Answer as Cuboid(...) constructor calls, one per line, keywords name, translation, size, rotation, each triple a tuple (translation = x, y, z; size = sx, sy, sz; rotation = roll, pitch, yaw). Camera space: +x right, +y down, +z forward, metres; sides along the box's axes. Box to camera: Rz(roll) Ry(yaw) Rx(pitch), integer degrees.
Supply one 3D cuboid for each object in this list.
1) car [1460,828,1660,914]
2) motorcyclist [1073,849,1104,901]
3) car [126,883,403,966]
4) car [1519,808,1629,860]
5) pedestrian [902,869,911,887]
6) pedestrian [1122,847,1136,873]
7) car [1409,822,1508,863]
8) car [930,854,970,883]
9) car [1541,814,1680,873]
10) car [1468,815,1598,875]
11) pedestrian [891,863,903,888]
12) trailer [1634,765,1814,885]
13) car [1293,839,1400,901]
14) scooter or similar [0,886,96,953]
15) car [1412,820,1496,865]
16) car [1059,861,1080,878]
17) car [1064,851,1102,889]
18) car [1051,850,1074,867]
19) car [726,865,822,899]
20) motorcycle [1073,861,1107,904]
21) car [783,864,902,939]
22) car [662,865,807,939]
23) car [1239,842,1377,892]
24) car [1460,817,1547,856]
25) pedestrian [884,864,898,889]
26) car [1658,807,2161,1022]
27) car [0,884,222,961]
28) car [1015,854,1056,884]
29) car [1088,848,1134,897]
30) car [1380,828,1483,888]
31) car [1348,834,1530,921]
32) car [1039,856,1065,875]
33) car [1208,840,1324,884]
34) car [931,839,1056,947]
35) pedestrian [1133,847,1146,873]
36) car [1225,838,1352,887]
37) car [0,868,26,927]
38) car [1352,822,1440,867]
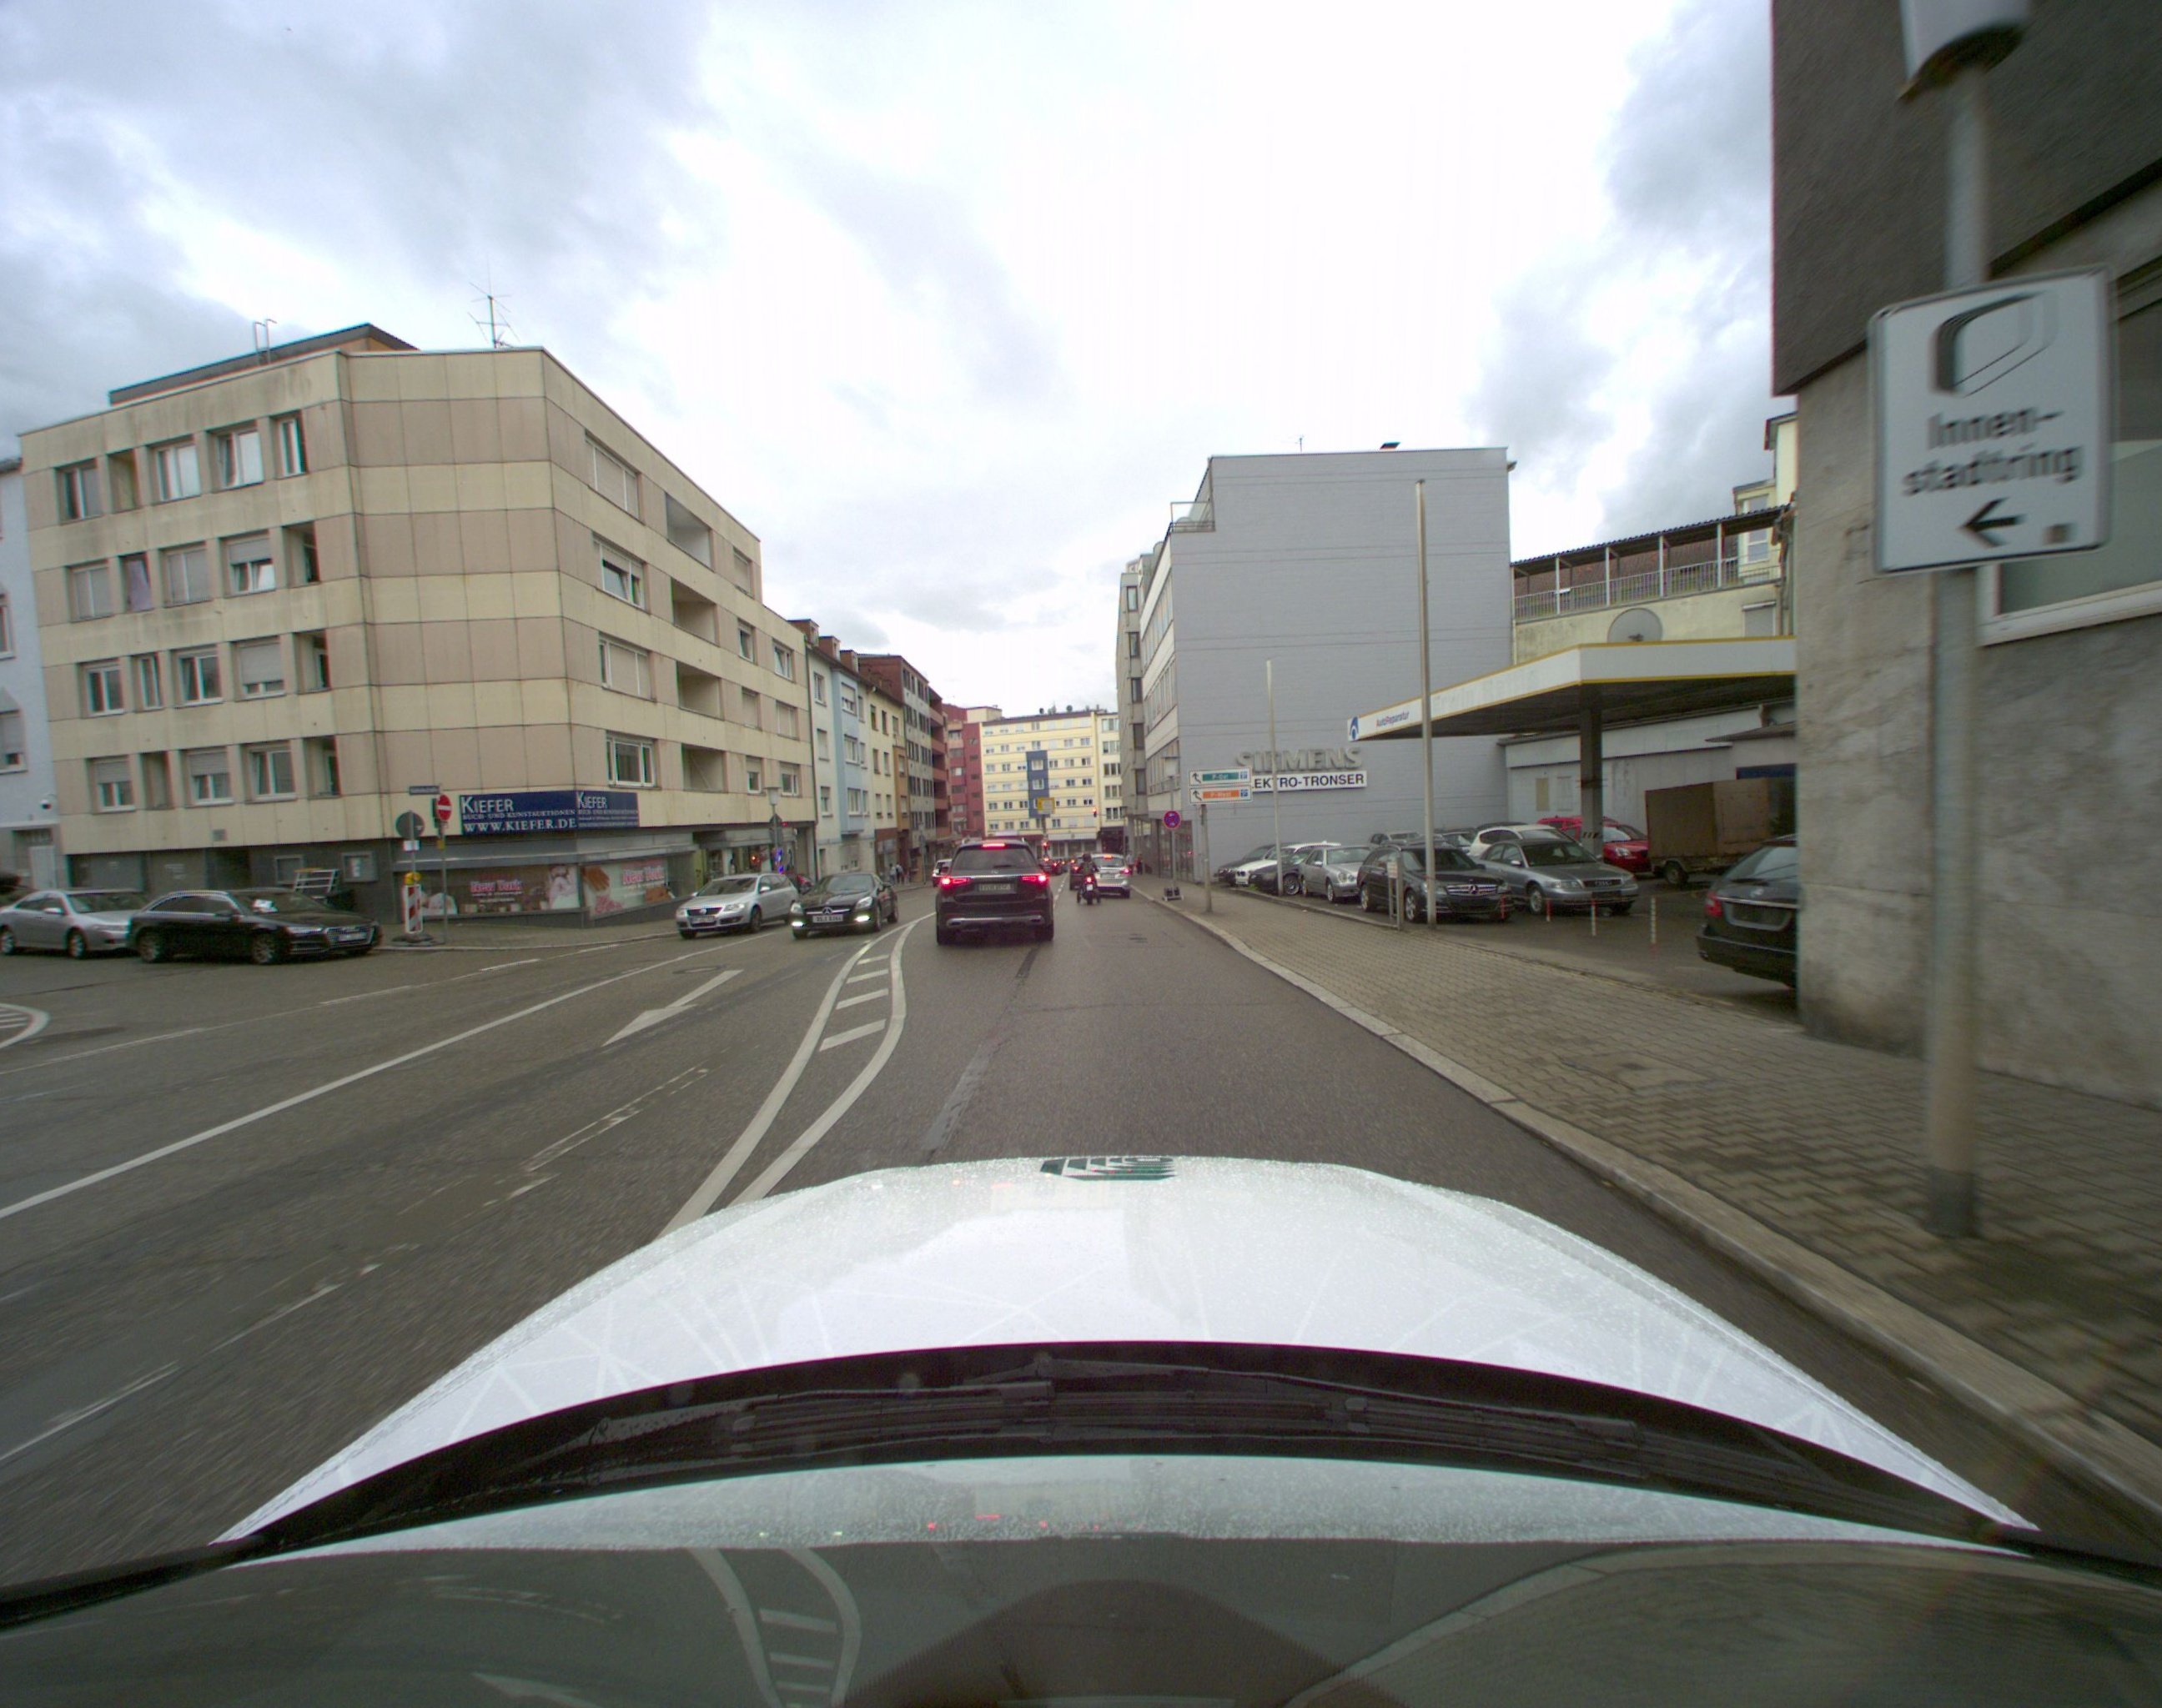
Cuboid(name="car", translation=(9.579, 0.300, 16.760), size=(1.788, 1.477, 4.492), rotation=(-2, 0, 5))
Cuboid(name="motorcyclist", translation=(0.221, 0.643, 25.305), size=(0.865, 1.560, 0.763), rotation=(-2, -1, -3))
Cuboid(name="car", translation=(-16.792, 1.417, 16.835), size=(4.305, 1.512, 1.904), rotation=(-1, 0, 10))
Cuboid(name="car", translation=(16.632, -0.626, 27.647), size=(1.447, 1.597, 3.386), rotation=(-1, -1, -5))
Cuboid(name="pedestrian", translation=(-12.016, 1.675, 56.153), size=(0.424, 1.162, 0.586), rotation=(-2, 4, -3))
Cuboid(name="pedestrian", translation=(3.067, 0.377, 52.279), size=(0.767, 1.611, 0.703), rotation=(-2, 2, -3))
Cuboid(name="car", translation=(12.427, -0.344, 27.023), size=(1.447, 1.202, 3.386), rotation=(-1, -1, -5))
Cuboid(name="car", translation=(-8.740, 0.933, 54.683), size=(1.864, 1.753, 4.397), rotation=(-5, 0, -1))
Cuboid(name="car", translation=(14.694, -0.230, 22.813), size=(1.447, 1.512, 3.516), rotation=(-1, -1, -3))
Cuboid(name="car", translation=(12.563, -0.197, 22.896), size=(1.548, 1.512, 3.516), rotation=(-1, -1, -3))
Cuboid(name="pedestrian", translation=(-12.643, 1.465, 55.986), size=(0.670, 1.652, 0.605), rotation=(-2, 4, -3))
Cuboid(name="trailer", translation=(14.584, -0.599, 18.690), size=(1.424, 2.435, 3.204), rotation=(-3, 0, -1))
Cuboid(name="car", translation=(7.027, 0.389, 21.985), size=(1.560, 1.477, 4.069), rotation=(-1, 0, 0))
Cuboid(name="scooter or similar", translation=(-25.786, 1.538, 19.436), size=(3.057, 1.328, 1.701), rotation=(-1, 4, 15))
Cuboid(name="car", translation=(14.391, -0.394, 31.607), size=(1.447, 1.597, 3.386), rotation=(-1, -1, -5))
Cuboid(name="car", translation=(-1.082, 1.514, 79.449), size=(1.878, 1.502, 4.400), rotation=(-1, 0, 1))
Cuboid(name="car", translation=(0.055, 0.686, 36.470), size=(1.518, 1.548, 3.105), rotation=(-2, 1, -2))
Cuboid(name="car", translation=(-1.611, 0.368, 73.673), size=(1.878, 1.502, 4.400), rotation=(-1, 0, 1))
Cuboid(name="car", translation=(-14.890, 1.352, 39.675), size=(3.977, 1.499, 1.797), rotation=(-2, -1, -3))
Cuboid(name="motorcycle", translation=(0.262, 0.856, 25.249), size=(0.865, 1.186, 2.559), rotation=(-2, 1, -3))
Cuboid(name="car", translation=(-5.190, 0.969, 18.277), size=(1.712, 1.317, 4.136), rotation=(-3, 0, -5))
Cuboid(name="car", translation=(-8.685, 1.134, 20.901), size=(1.740, 1.539, 4.639), rotation=(-5, -1, -2))
Cuboid(name="car", translation=(7.274, 0.406, 26.128), size=(3.999, 1.495, 1.722), rotation=(-1, -1, -19))
Cuboid(name="car", translation=(16.479, -0.658, 31.933), size=(1.449, 1.354, 3.347), rotation=(-1, -1, -5))
Cuboid(name="pedestrian", translation=(-12.852, 1.523, 55.086), size=(0.738, 1.652, 0.605), rotation=(-2, 4, -3))
Cuboid(name="car", translation=(7.688, 0.427, 6.717), size=(4.470, 1.512, 1.889), rotation=(0, 0, 4))
Cuboid(name="car", translation=(-21.990, 1.491, 18.117), size=(4.305, 1.512, 1.904), rotation=(-1, 0, 10))
Cuboid(name="car", translation=(-2.380, 0.747, 43.753), size=(1.878, 1.502, 4.400), rotation=(-1, 0, 1))
Cuboid(name="car", translation=(1.045, 0.633, 29.875), size=(1.412, 1.651, 3.105), rotation=(-2, 1, -2))
Cuboid(name="car", translation=(9.682, 0.145, 22.734), size=(1.521, 1.512, 3.394), rotation=(-1, -1, 2))
Cuboid(name="car", translation=(6.941, 0.402, 16.378), size=(1.790, 1.477, 4.487), rotation=(-1, 0, 2))
Cuboid(name="car", translation=(-2.357, 0.919, 67.012), size=(1.878, 1.502, 4.400), rotation=(-1, 0, 1))
Cuboid(name="car", translation=(7.070, 0.309, 31.228), size=(3.999, 1.597, 1.787), rotation=(-1, -1, -19))
Cuboid(name="car", translation=(-1.497, 0.632, 15.628), size=(2.015, 1.739, 4.743), rotation=(-1, 0, -2))
Cuboid(name="pedestrian", translation=(3.830, 0.399, 53.123), size=(0.716, 1.611, 0.610), rotation=(-2, 2, -3))
Cuboid(name="car", translation=(7.279, 0.303, 28.641), size=(3.999, 1.597, 1.787), rotation=(-1, -1, -19))
Cuboid(name="car", translation=(-29.896, 1.166, 20.905), size=(4.300, 1.512, 1.906), rotation=(-1, 0, 15))
Cuboid(name="car", translation=(12.169, -0.312, 31.678), size=(1.642, 1.597, 3.860), rotation=(-1, -1, -5))
